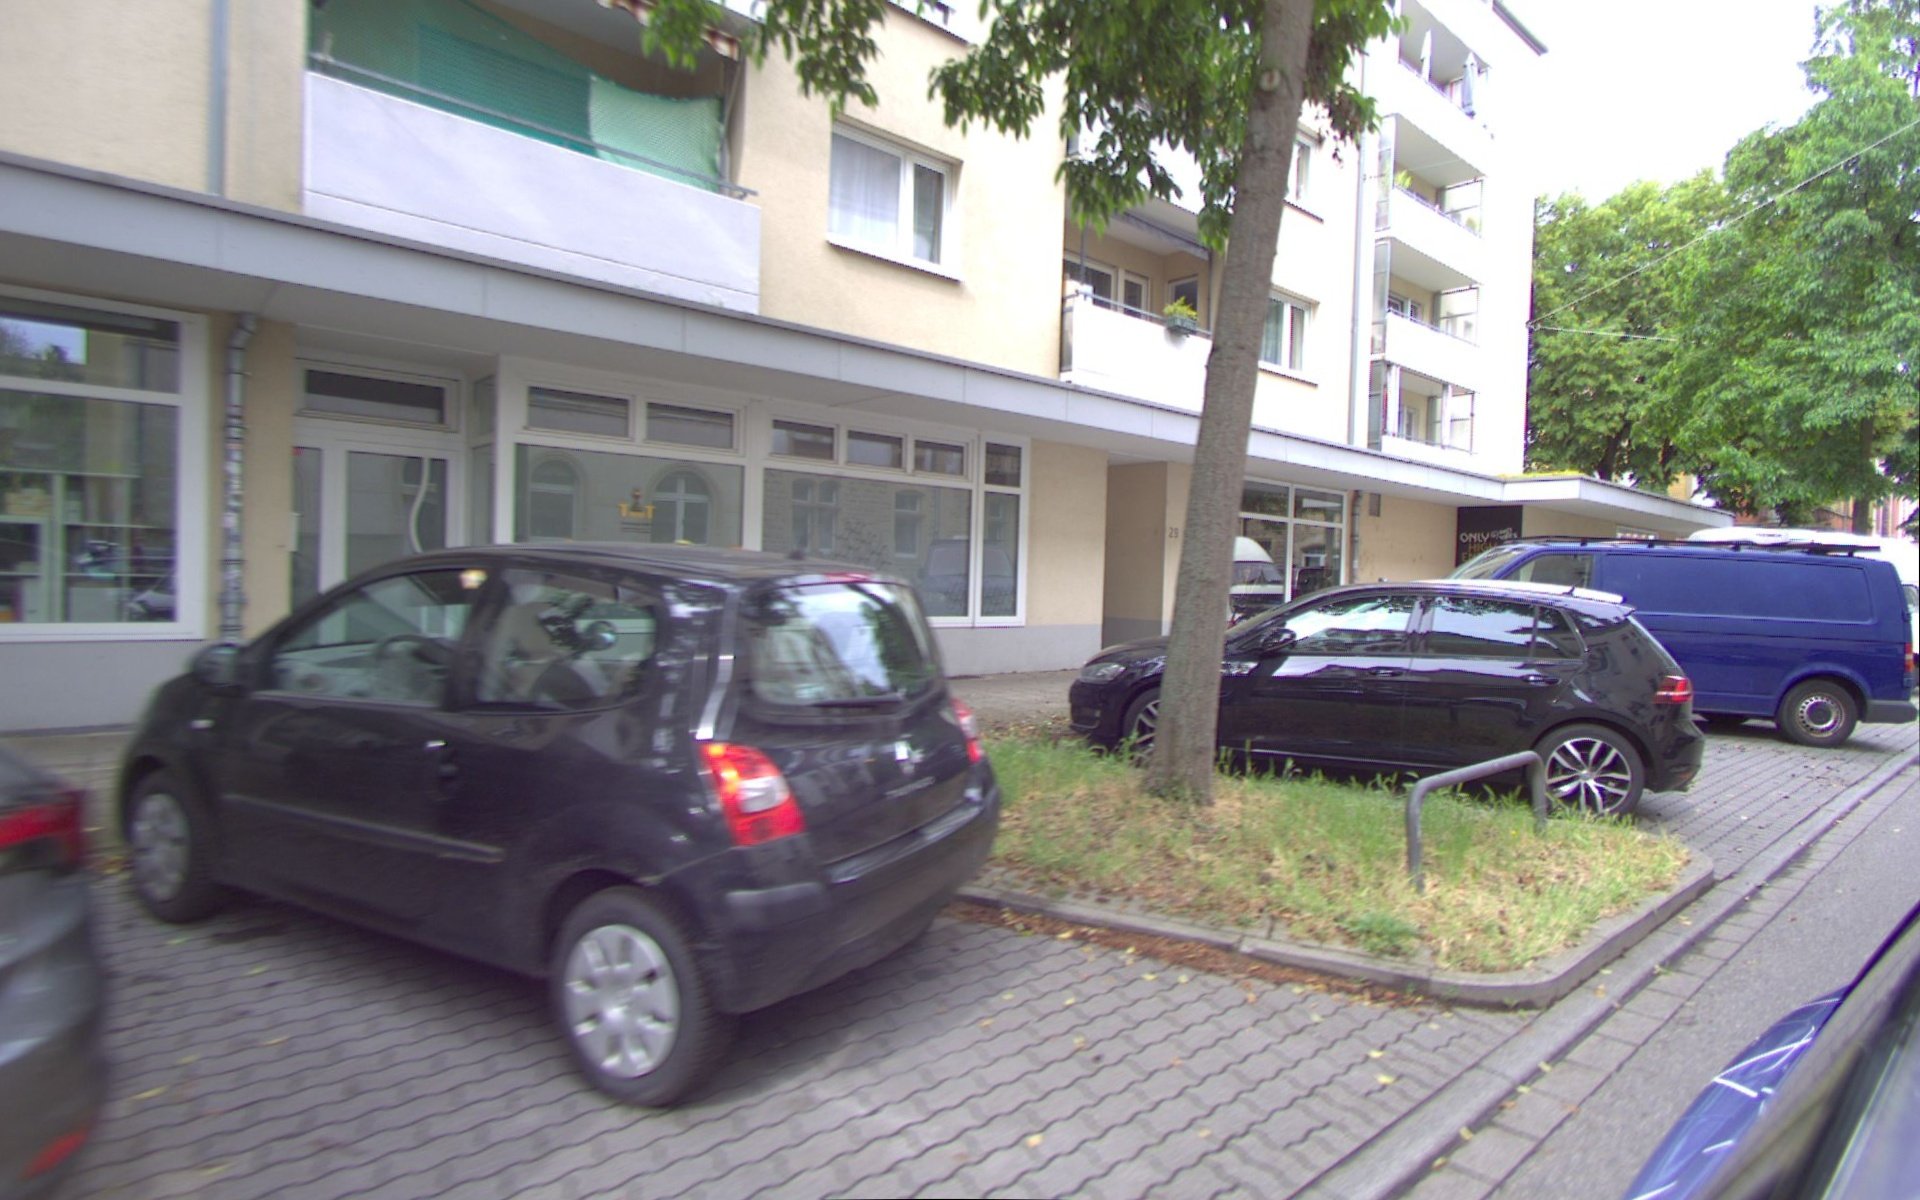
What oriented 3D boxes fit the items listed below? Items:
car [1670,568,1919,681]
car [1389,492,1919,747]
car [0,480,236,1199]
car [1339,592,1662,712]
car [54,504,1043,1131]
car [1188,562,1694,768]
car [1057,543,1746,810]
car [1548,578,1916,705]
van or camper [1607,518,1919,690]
[{"bbox_3d":[15.920,0.404,18.643,4.300,1.877,1.895,2,1,25],"label":"car"},{"bbox_3d":[7.483,0.121,11.083,4.634,2.223,2.060,4,2,12],"label":"car"},{"bbox_3d":[-3.681,0.461,1.782,4.177,1.518,1.963,4,3,21],"label":"car"},{"bbox_3d":[7.255,0.648,13.967,3.615,1.499,1.681,0,0,16],"label":"car"},{"bbox_3d":[-1.562,0.449,4.000,3.334,1.515,1.837,3,2,24],"label":"car"},{"bbox_3d":[4.292,0.457,9.514,3.874,1.483,1.809,3,2,26],"label":"car"},{"bbox_3d":[2.925,0.386,7.458,4.062,1.460,1.842,3,2,20],"label":"car"},{"bbox_3d":[10.998,0.521,14.722,3.760,1.434,1.718,4,2,13],"label":"car"},{"bbox_3d":[13.697,0.014,16.798,4.535,2.628,1.901,2,1,18],"label":"van or camper"}]
